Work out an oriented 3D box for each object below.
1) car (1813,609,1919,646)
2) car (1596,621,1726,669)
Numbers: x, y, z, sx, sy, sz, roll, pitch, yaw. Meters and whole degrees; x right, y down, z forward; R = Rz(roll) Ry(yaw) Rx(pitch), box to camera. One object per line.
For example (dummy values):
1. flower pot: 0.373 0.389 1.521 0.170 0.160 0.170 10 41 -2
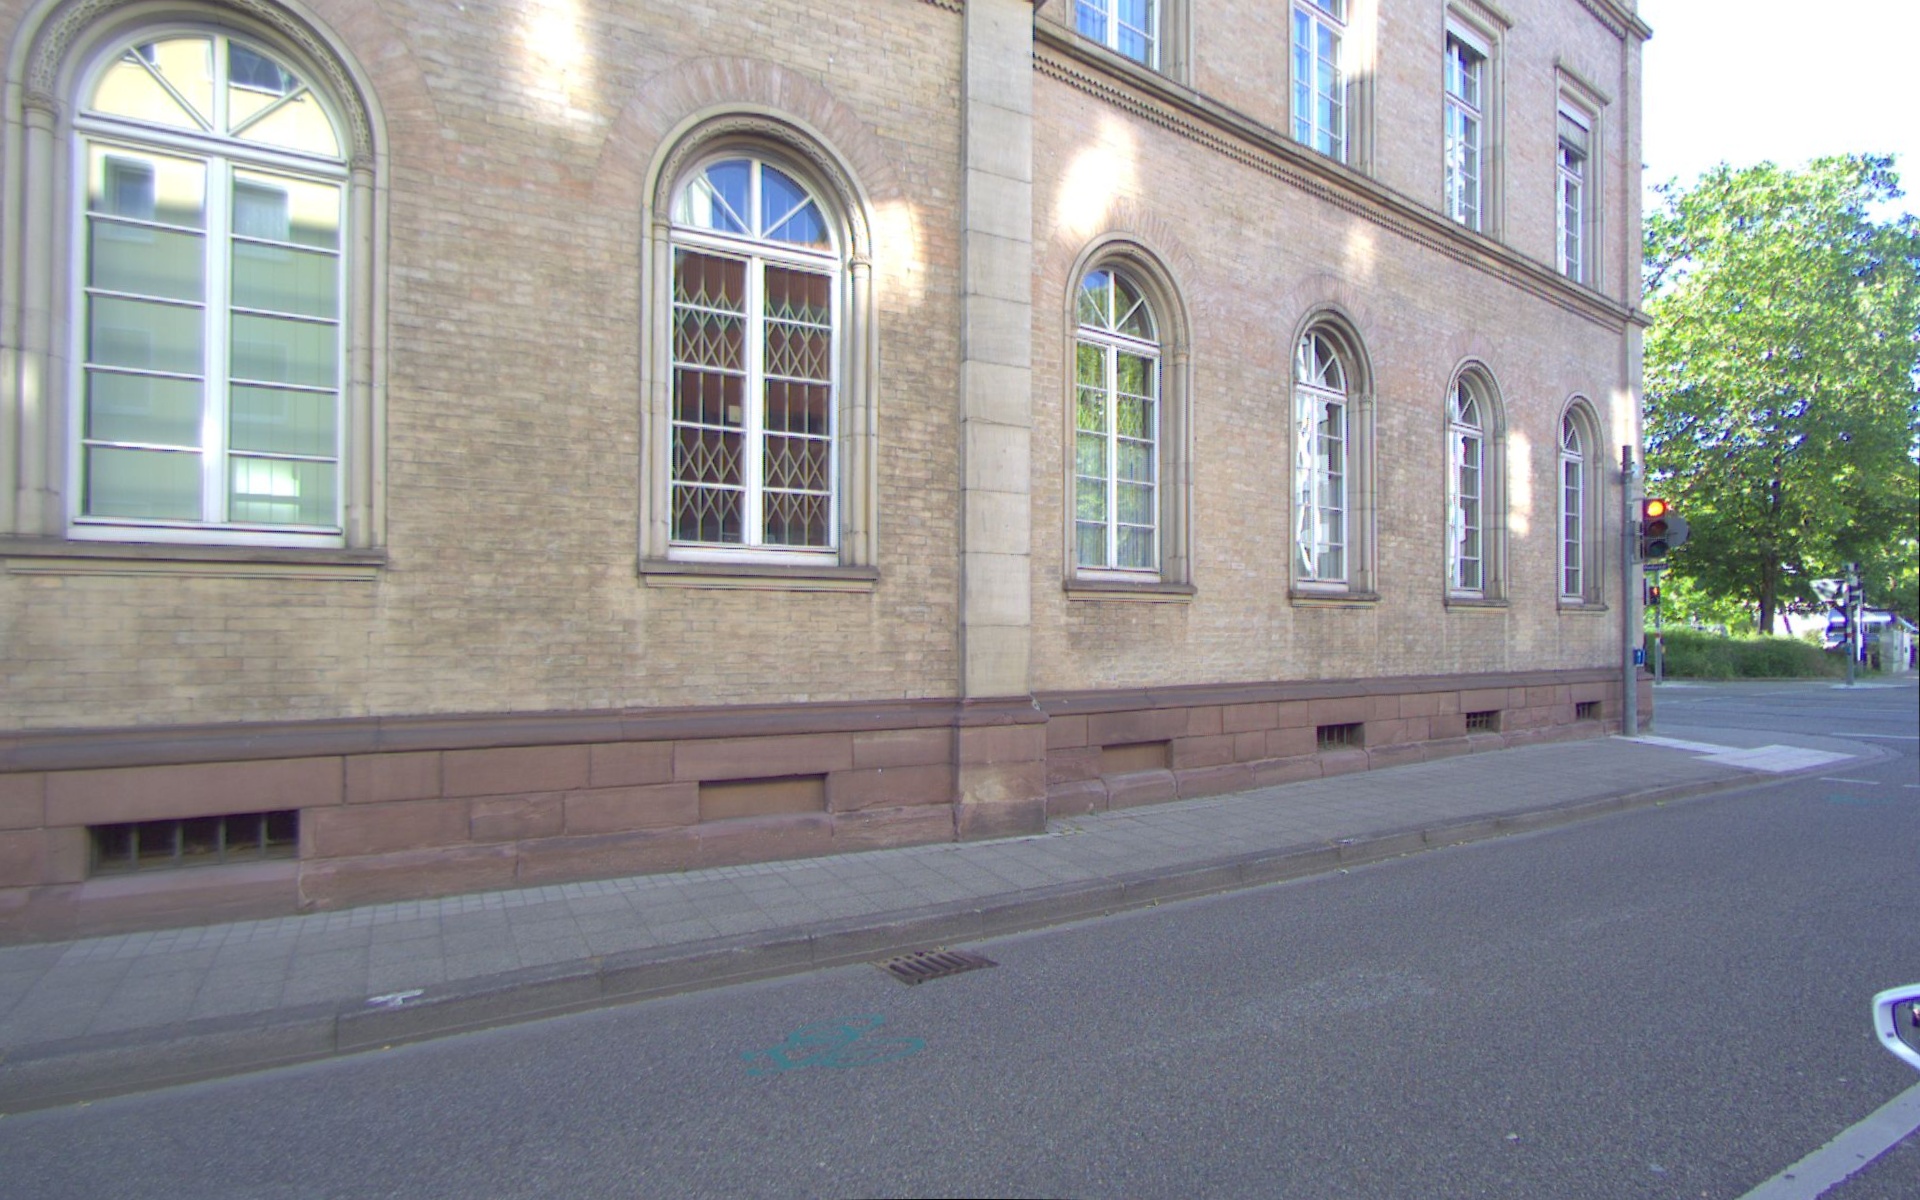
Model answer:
1. car: 53.502 1.613 59.391 1.983 2.040 4.409 2 0 -38
2. car: 24.383 1.532 35.027 1.636 1.476 3.382 2 0 -39
